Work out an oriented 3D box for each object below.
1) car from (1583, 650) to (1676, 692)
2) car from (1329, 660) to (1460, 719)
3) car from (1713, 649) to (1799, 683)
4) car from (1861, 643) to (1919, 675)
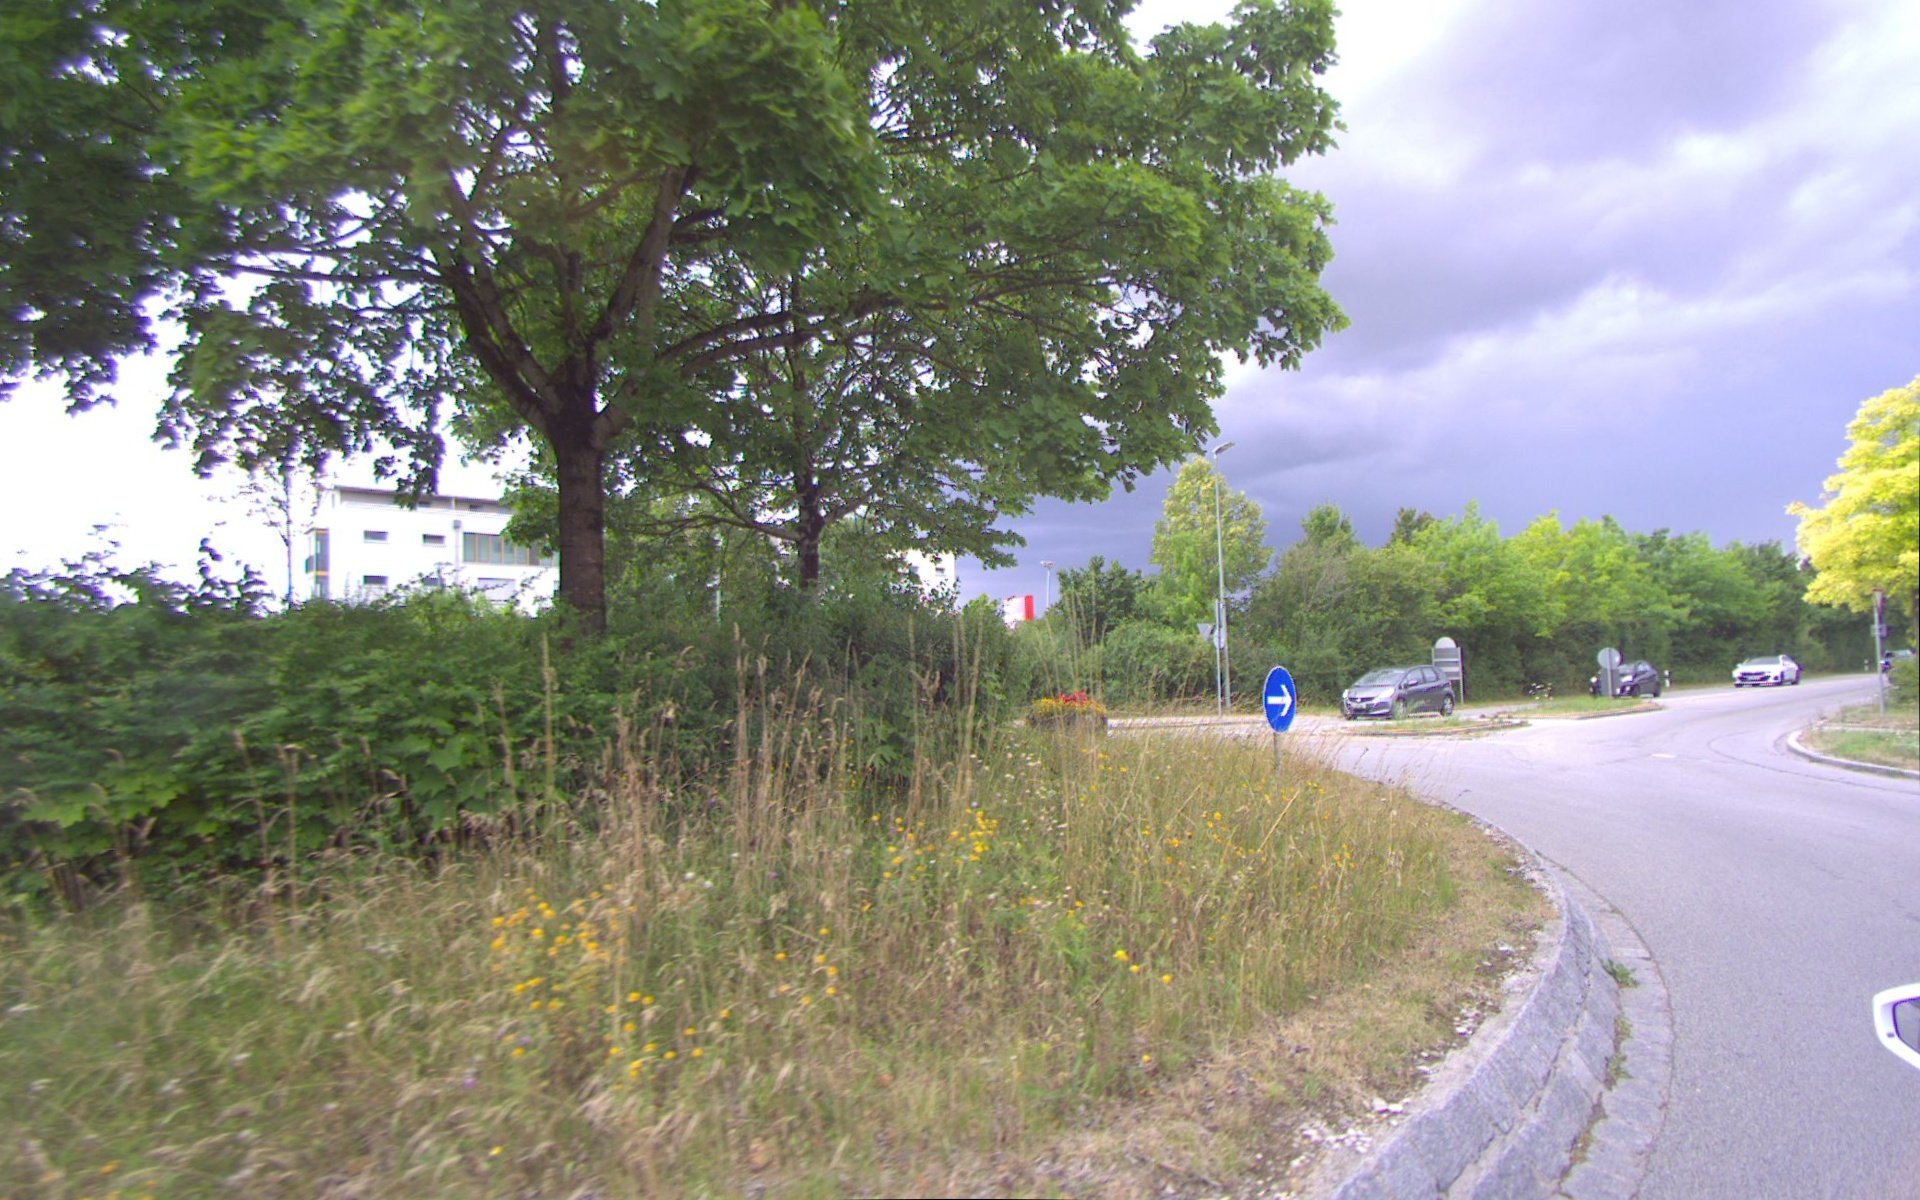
[{"bbox_3d":[26.310,2.741,39.465,3.959,1.473,1.672,0,-2,-35],"label":"car"},{"bbox_3d":[12.515,2.507,28.839,3.962,1.441,1.671,0,-3,-36],"label":"car"},{"bbox_3d":[39.717,3.257,50.097,4.897,1.473,2.197,0,-3,-38],"label":"car"},{"bbox_3d":[48.302,2.971,51.409,4.892,1.473,2.197,0,-3,-35],"label":"car"}]
